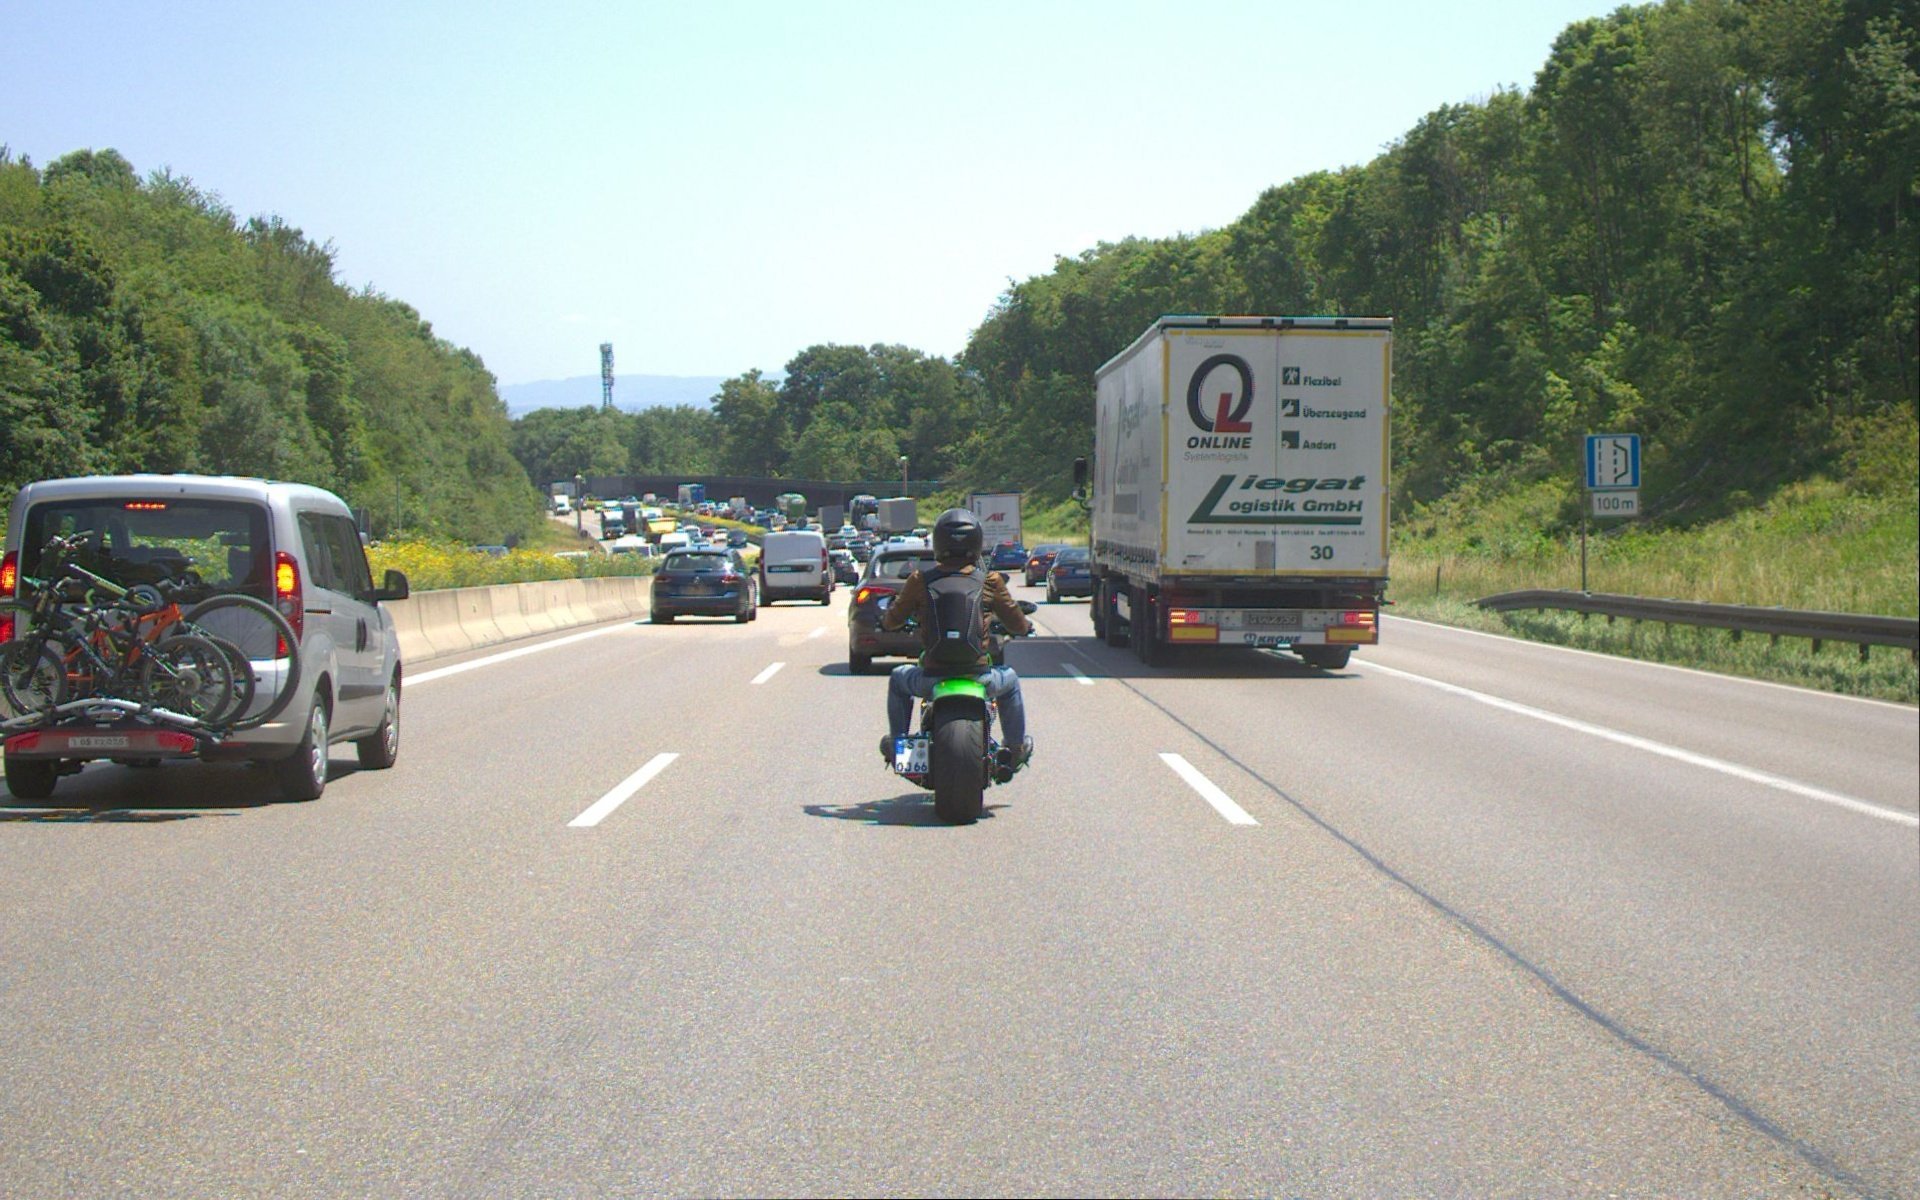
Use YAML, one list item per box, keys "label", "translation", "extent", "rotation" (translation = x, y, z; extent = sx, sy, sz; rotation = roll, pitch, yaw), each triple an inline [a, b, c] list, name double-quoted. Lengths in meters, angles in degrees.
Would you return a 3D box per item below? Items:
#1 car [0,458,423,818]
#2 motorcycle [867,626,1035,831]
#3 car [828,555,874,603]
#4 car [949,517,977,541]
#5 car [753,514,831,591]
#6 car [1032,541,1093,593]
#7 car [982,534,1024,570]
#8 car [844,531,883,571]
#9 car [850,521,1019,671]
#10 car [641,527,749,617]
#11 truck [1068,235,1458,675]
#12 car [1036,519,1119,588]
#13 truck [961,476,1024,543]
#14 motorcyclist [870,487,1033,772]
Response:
- label: "car"
  translation: [-4.533, 0.149, 20.434]
  extent: [1.898, 1.841, 5.483]
  rotation: [0, 1, -1]
- label: "motorcycle"
  translation: [-0.042, 0.667, 18.741]
  extent: [0.862, 0.978, 2.131]
  rotation: [0, 2, 0]
- label: "car"
  translation: [-4.455, -0.886, 141.269]
  extent: [1.831, 1.804, 4.121]
  rotation: [0, 2, -1]
- label: "car"
  translation: [0.218, -4.902, 236.673]
  extent: [1.831, 1.553, 4.121]
  rotation: [0, 2, -1]
- label: "car"
  translation: [-4.232, -1.225, 87.030]
  extent: [1.831, 1.804, 4.121]
  rotation: [0, 2, -1]
- label: "car"
  translation: [3.381, -1.115, 114.165]
  extent: [1.831, 1.553, 4.121]
  rotation: [0, 2, -1]
- label: "car"
  translation: [2.006, -2.237, 160.773]
  extent: [1.831, 1.553, 4.121]
  rotation: [0, 2, -1]
- label: "car"
  translation: [-4.593, -2.350, 163.918]
  extent: [1.831, 1.804, 4.121]
  rotation: [0, 2, -1]
- label: "car"
  translation: [-0.320, -0.096, 40.008]
  extent: [1.845, 1.552, 4.440]
  rotation: [0, 2, -1]
- label: "car"
  translation: [-4.967, -0.553, 64.918]
  extent: [1.758, 1.538, 4.396]
  rotation: [0, 2, -1]
- label: "truck"
  translation: [3.579, -1.897, 46.331]
  extent: [3.383, 4.701, 17.711]
  rotation: [1, 2, -1]
- label: "car"
  translation: [2.866, -1.163, 84.654]
  extent: [1.831, 1.553, 4.121]
  rotation: [0, 2, -1]
- label: "truck"
  translation: [1.659, -4.822, 181.578]
  extent: [3.067, 3.335, 9.653]
  rotation: [1, 2, -1]
- label: "motorcyclist"
  translation: [-0.043, 0.143, 18.626]
  extent: [0.856, 1.509, 0.914]
  rotation: [0, 1, 0]
